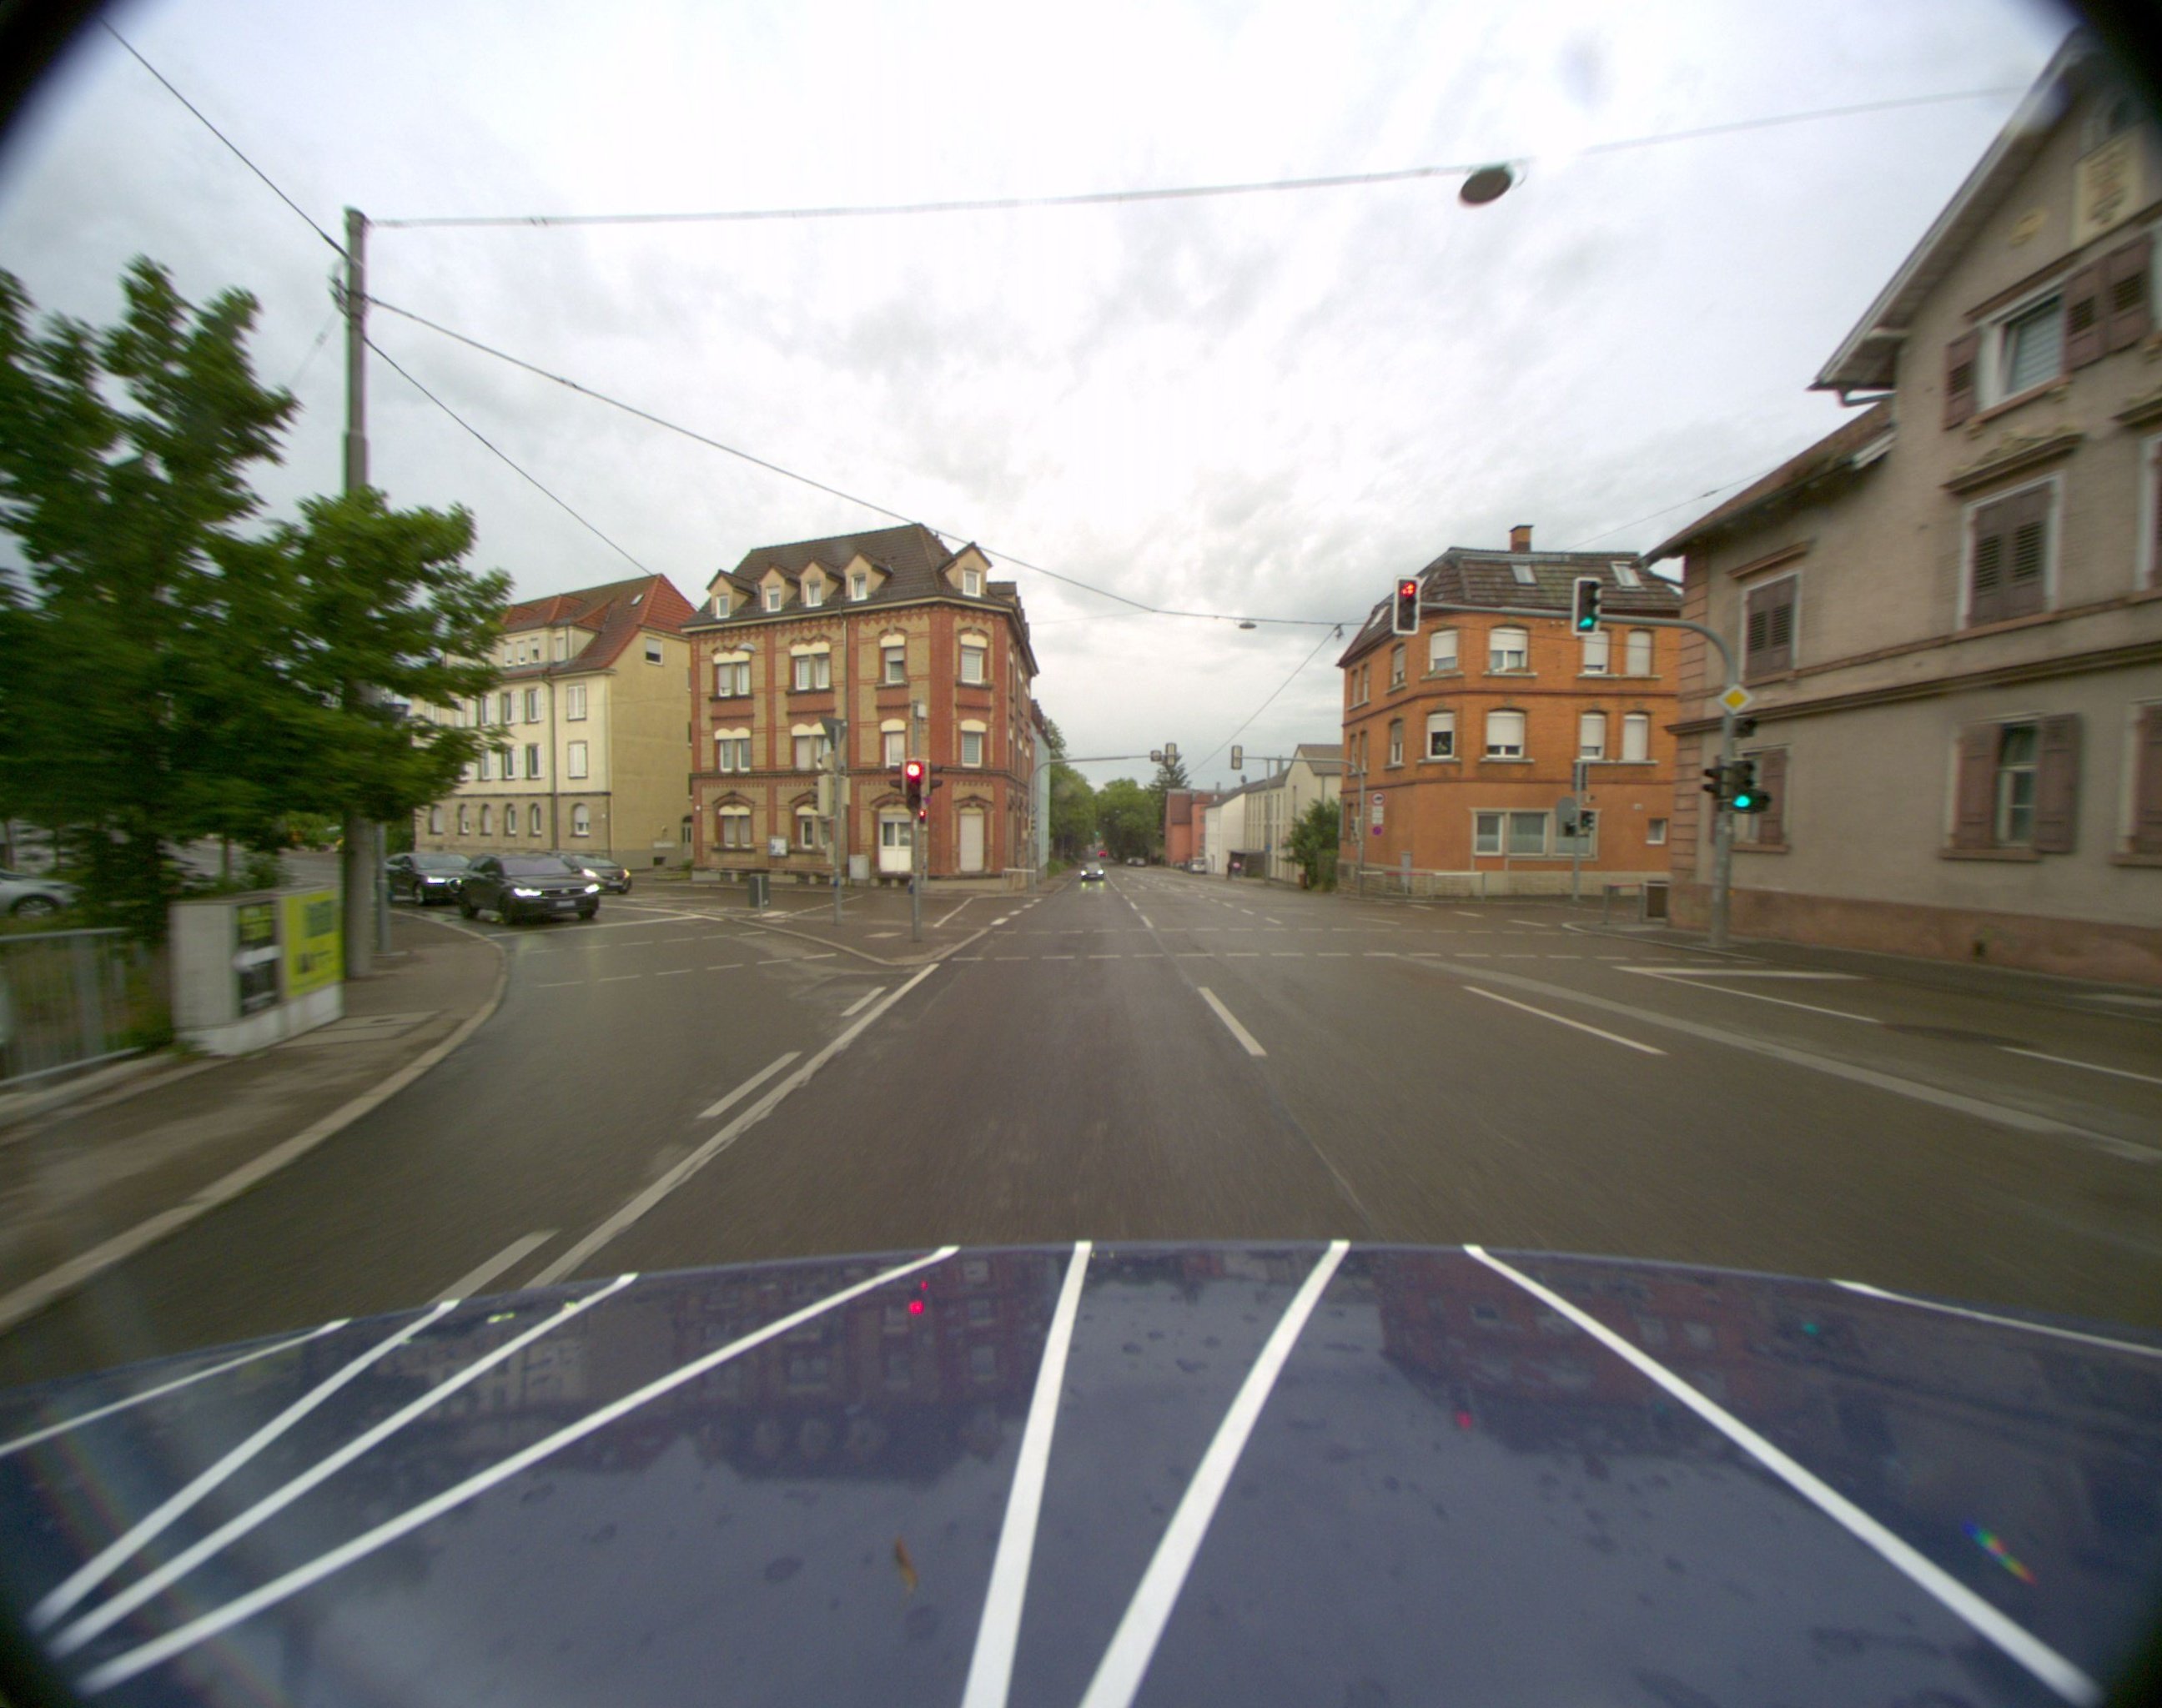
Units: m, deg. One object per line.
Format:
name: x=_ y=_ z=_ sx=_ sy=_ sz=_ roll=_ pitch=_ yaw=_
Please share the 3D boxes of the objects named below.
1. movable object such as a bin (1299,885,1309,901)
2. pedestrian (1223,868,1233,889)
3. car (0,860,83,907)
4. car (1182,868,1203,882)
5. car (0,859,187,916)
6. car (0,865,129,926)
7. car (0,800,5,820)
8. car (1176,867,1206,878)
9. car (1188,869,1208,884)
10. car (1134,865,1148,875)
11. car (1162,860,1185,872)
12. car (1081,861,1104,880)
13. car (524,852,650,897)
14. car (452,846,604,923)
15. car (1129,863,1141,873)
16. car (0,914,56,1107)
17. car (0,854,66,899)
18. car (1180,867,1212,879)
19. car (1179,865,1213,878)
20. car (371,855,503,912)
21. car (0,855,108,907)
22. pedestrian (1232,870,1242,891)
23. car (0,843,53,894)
movable object such as a bin: x=13.549 y=2.377 z=46.122 sx=0.410 sy=0.919 sz=0.525 roll=-1 pitch=1 yaw=-5
pedestrian: x=12.130 y=2.041 z=62.591 sx=0.641 sy=1.696 sz=0.911 roll=0 pitch=1 yaw=2
car: x=-30.502 y=0.818 z=20.584 sx=1.719 sy=1.242 sz=4.008 roll=1 pitch=1 yaw=30
car: x=13.900 y=2.603 z=95.155 sx=1.750 sy=1.543 sz=4.082 roll=-2 pitch=1 yaw=-3
car: x=-25.465 y=0.783 z=18.845 sx=1.719 sy=1.277 sz=4.008 roll=1 pitch=1 yaw=30
car: x=-24.316 y=0.910 z=16.690 sx=1.719 sy=1.265 sz=4.008 roll=1 pitch=1 yaw=30
car: x=-88.778 y=-3.544 z=61.054 sx=3.990 sy=1.608 sz=1.893 roll=1 pitch=0 yaw=24
car: x=15.911 y=2.621 z=110.174 sx=4.171 sy=1.425 sz=2.000 roll=-2 pitch=1 yaw=3
car: x=13.532 y=2.601 z=87.788 sx=1.749 sy=1.499 sz=4.177 roll=0 pitch=1 yaw=1
car: x=9.445 y=2.531 z=119.590 sx=1.789 sy=1.402 sz=4.197 roll=2 pitch=0 yaw=-2
car: x=16.680 y=2.187 z=137.027 sx=3.994 sy=2.002 sz=2.001 roll=-1 pitch=1 yaw=8
car: x=0.939 y=1.320 z=61.532 sx=1.842 sy=1.403 sz=4.000 roll=0 pitch=1 yaw=1
car: x=-17.658 y=0.687 z=27.150 sx=3.990 sy=1.445 sz=1.847 roll=1 pitch=0 yaw=23
car: x=-13.790 y=0.665 z=18.883 sx=4.242 sy=1.653 sz=1.808 roll=1 pitch=2 yaw=36
car: x=9.251 y=2.358 z=130.909 sx=1.816 sy=1.537 sz=4.198 roll=3 pitch=1 yaw=1
car: x=-11.044 y=1.368 z=6.600 sx=3.989 sy=1.500 sz=1.900 roll=1 pitch=5 yaw=29
car: x=-33.061 y=0.663 z=22.131 sx=1.719 sy=1.300 sz=4.008 roll=1 pitch=1 yaw=30
car: x=15.878 y=2.648 z=105.103 sx=4.135 sy=1.455 sz=1.896 roll=-1 pitch=1 yaw=2
car: x=16.241 y=2.503 z=107.664 sx=4.542 sy=1.599 sz=2.153 roll=-2 pitch=1 yaw=3
car: x=-19.689 y=0.828 z=23.213 sx=4.243 sy=1.496 sz=1.808 roll=1 pitch=2 yaw=31
car: x=-28.527 y=0.702 z=19.594 sx=1.719 sy=1.300 sz=4.008 roll=1 pitch=1 yaw=30
pedestrian: x=12.874 y=2.148 z=62.560 sx=0.641 sy=1.696 sz=0.911 roll=0 pitch=1 yaw=2
car: x=-35.301 y=0.438 z=23.475 sx=1.719 sy=1.587 sz=4.008 roll=1 pitch=1 yaw=30
